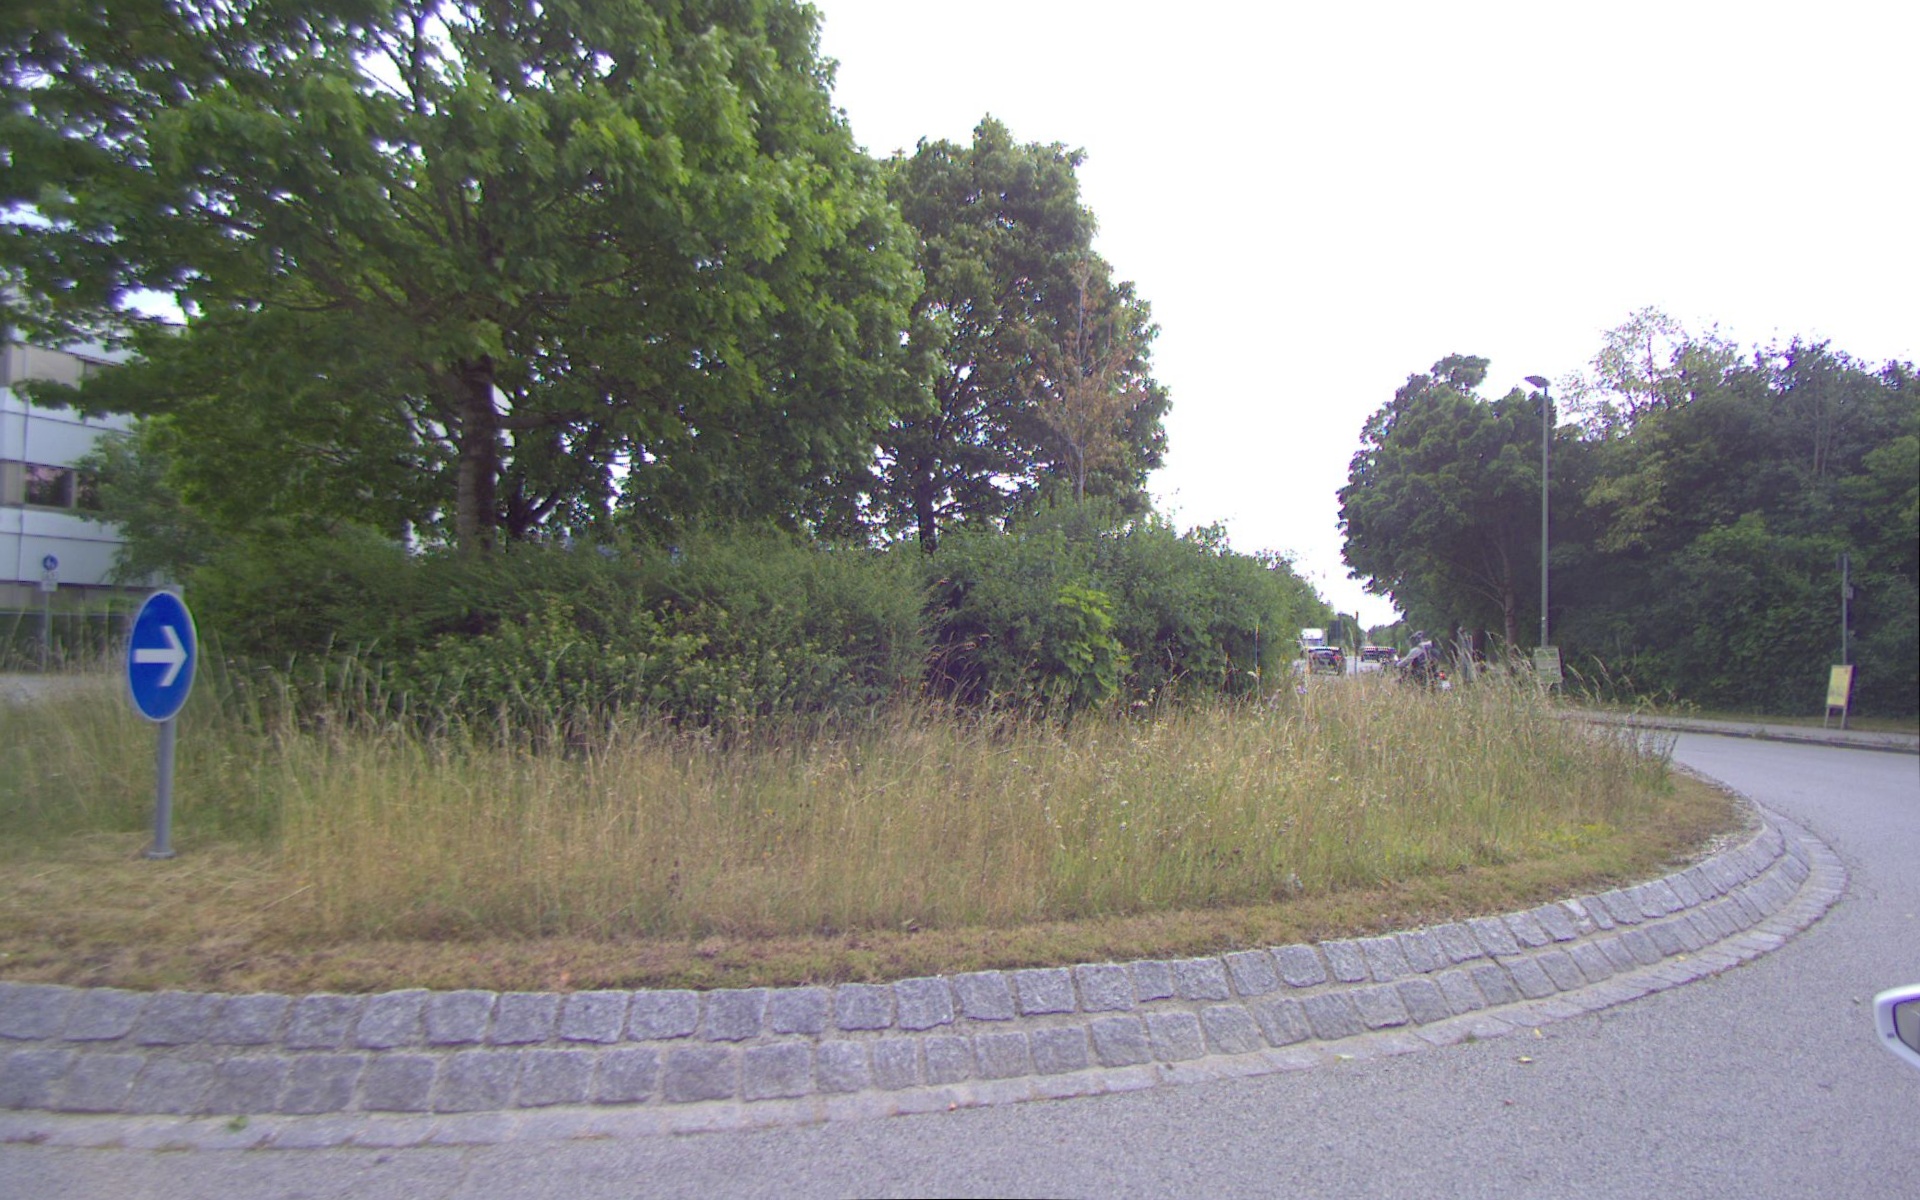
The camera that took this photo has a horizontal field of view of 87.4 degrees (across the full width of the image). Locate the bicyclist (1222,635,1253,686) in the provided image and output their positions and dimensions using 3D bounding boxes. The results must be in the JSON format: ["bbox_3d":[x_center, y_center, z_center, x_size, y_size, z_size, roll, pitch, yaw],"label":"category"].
[{"bbox_3d":[9.920,2.141,35.932,0.900,1.745,0.659,3,-1,8],"label":"bicyclist"}]

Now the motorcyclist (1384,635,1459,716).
[{"bbox_3d":[9.781,1.586,21.316,0.855,1.645,1.180,2,-2,-33],"label":"motorcyclist"}]

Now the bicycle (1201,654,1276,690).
[{"bbox_3d":[9.937,2.572,35.945,2.456,1.103,0.771,3,-2,7],"label":"bicycle"}]

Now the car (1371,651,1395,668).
[{"bbox_3d":[53.062,7.430,125.988,2.474,1.973,5.706,0,-3,26],"label":"car"}]

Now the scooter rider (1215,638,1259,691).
[{"bbox_3d":[9.290,2.148,33.737,1.220,1.694,1.101,1,-2,3],"label":"scooter rider"}]

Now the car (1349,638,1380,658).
[{"bbox_3d":[41.556,4.952,103.146,2.474,1.973,5.706,0,-3,26],"label":"car"}]

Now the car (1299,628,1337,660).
[{"bbox_3d":[38.428,4.724,107.718,3.121,3.246,7.627,0,-3,25],"label":"car"}]

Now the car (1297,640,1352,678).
[{"bbox_3d":[20.384,3.265,55.992,2.474,1.973,5.708,0,-3,24],"label":"car"}]

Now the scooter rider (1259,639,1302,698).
[{"bbox_3d":[10.768,2.287,33.787,1.105,1.935,1.227,0,-2,5],"label":"scooter rider"}]

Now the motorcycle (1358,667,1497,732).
[{"bbox_3d":[9.823,2.060,21.220,0.890,1.173,2.596,2,-2,-33],"label":"motorcycle"}]
